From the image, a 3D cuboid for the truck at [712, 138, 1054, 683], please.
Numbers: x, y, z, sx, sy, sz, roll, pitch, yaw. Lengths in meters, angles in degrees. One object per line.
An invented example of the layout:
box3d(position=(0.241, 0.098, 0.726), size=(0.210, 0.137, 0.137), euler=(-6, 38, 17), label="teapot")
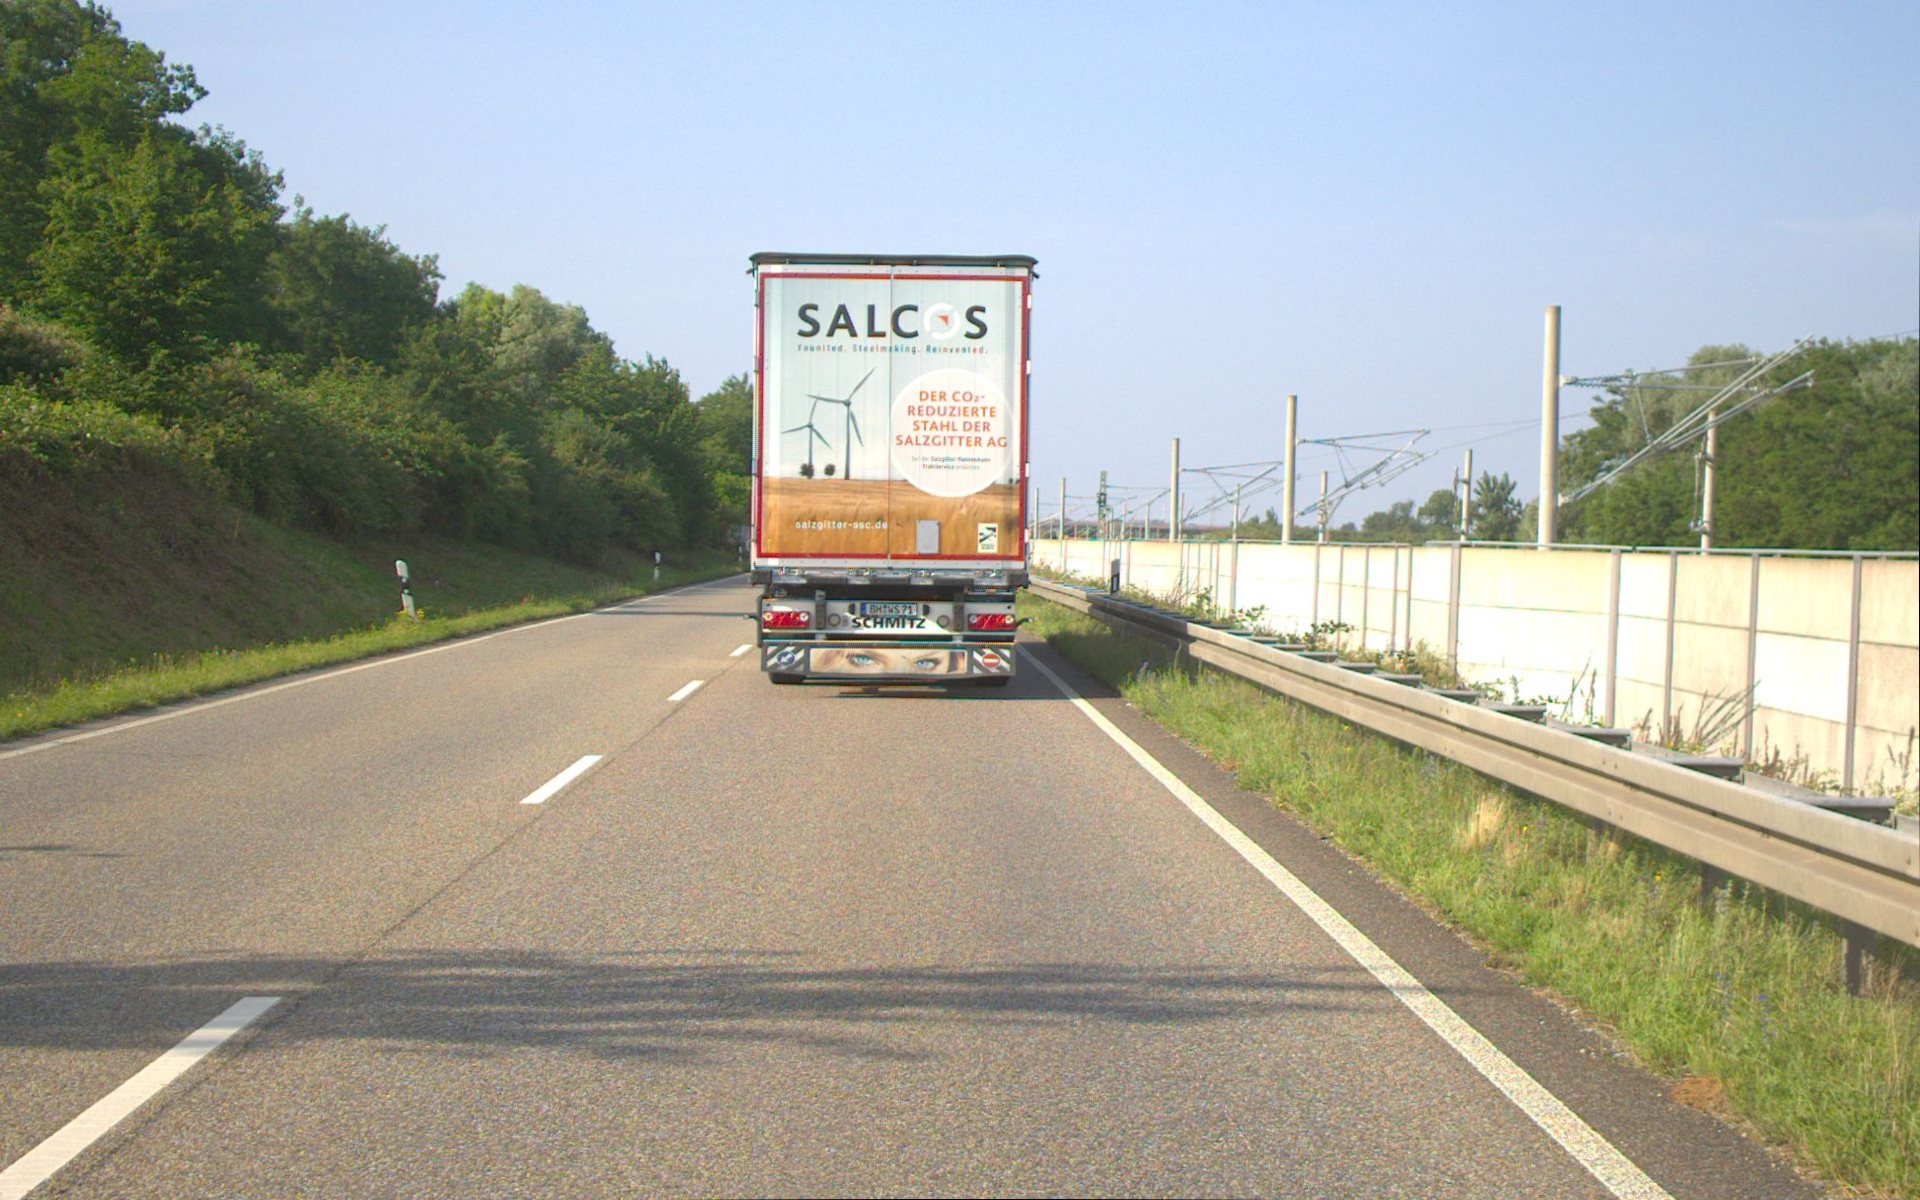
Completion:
box3d(position=(-0.914, -1.843, 37.104), size=(3.033, 4.903, 11.686), euler=(1, 1, -2), label="truck")
